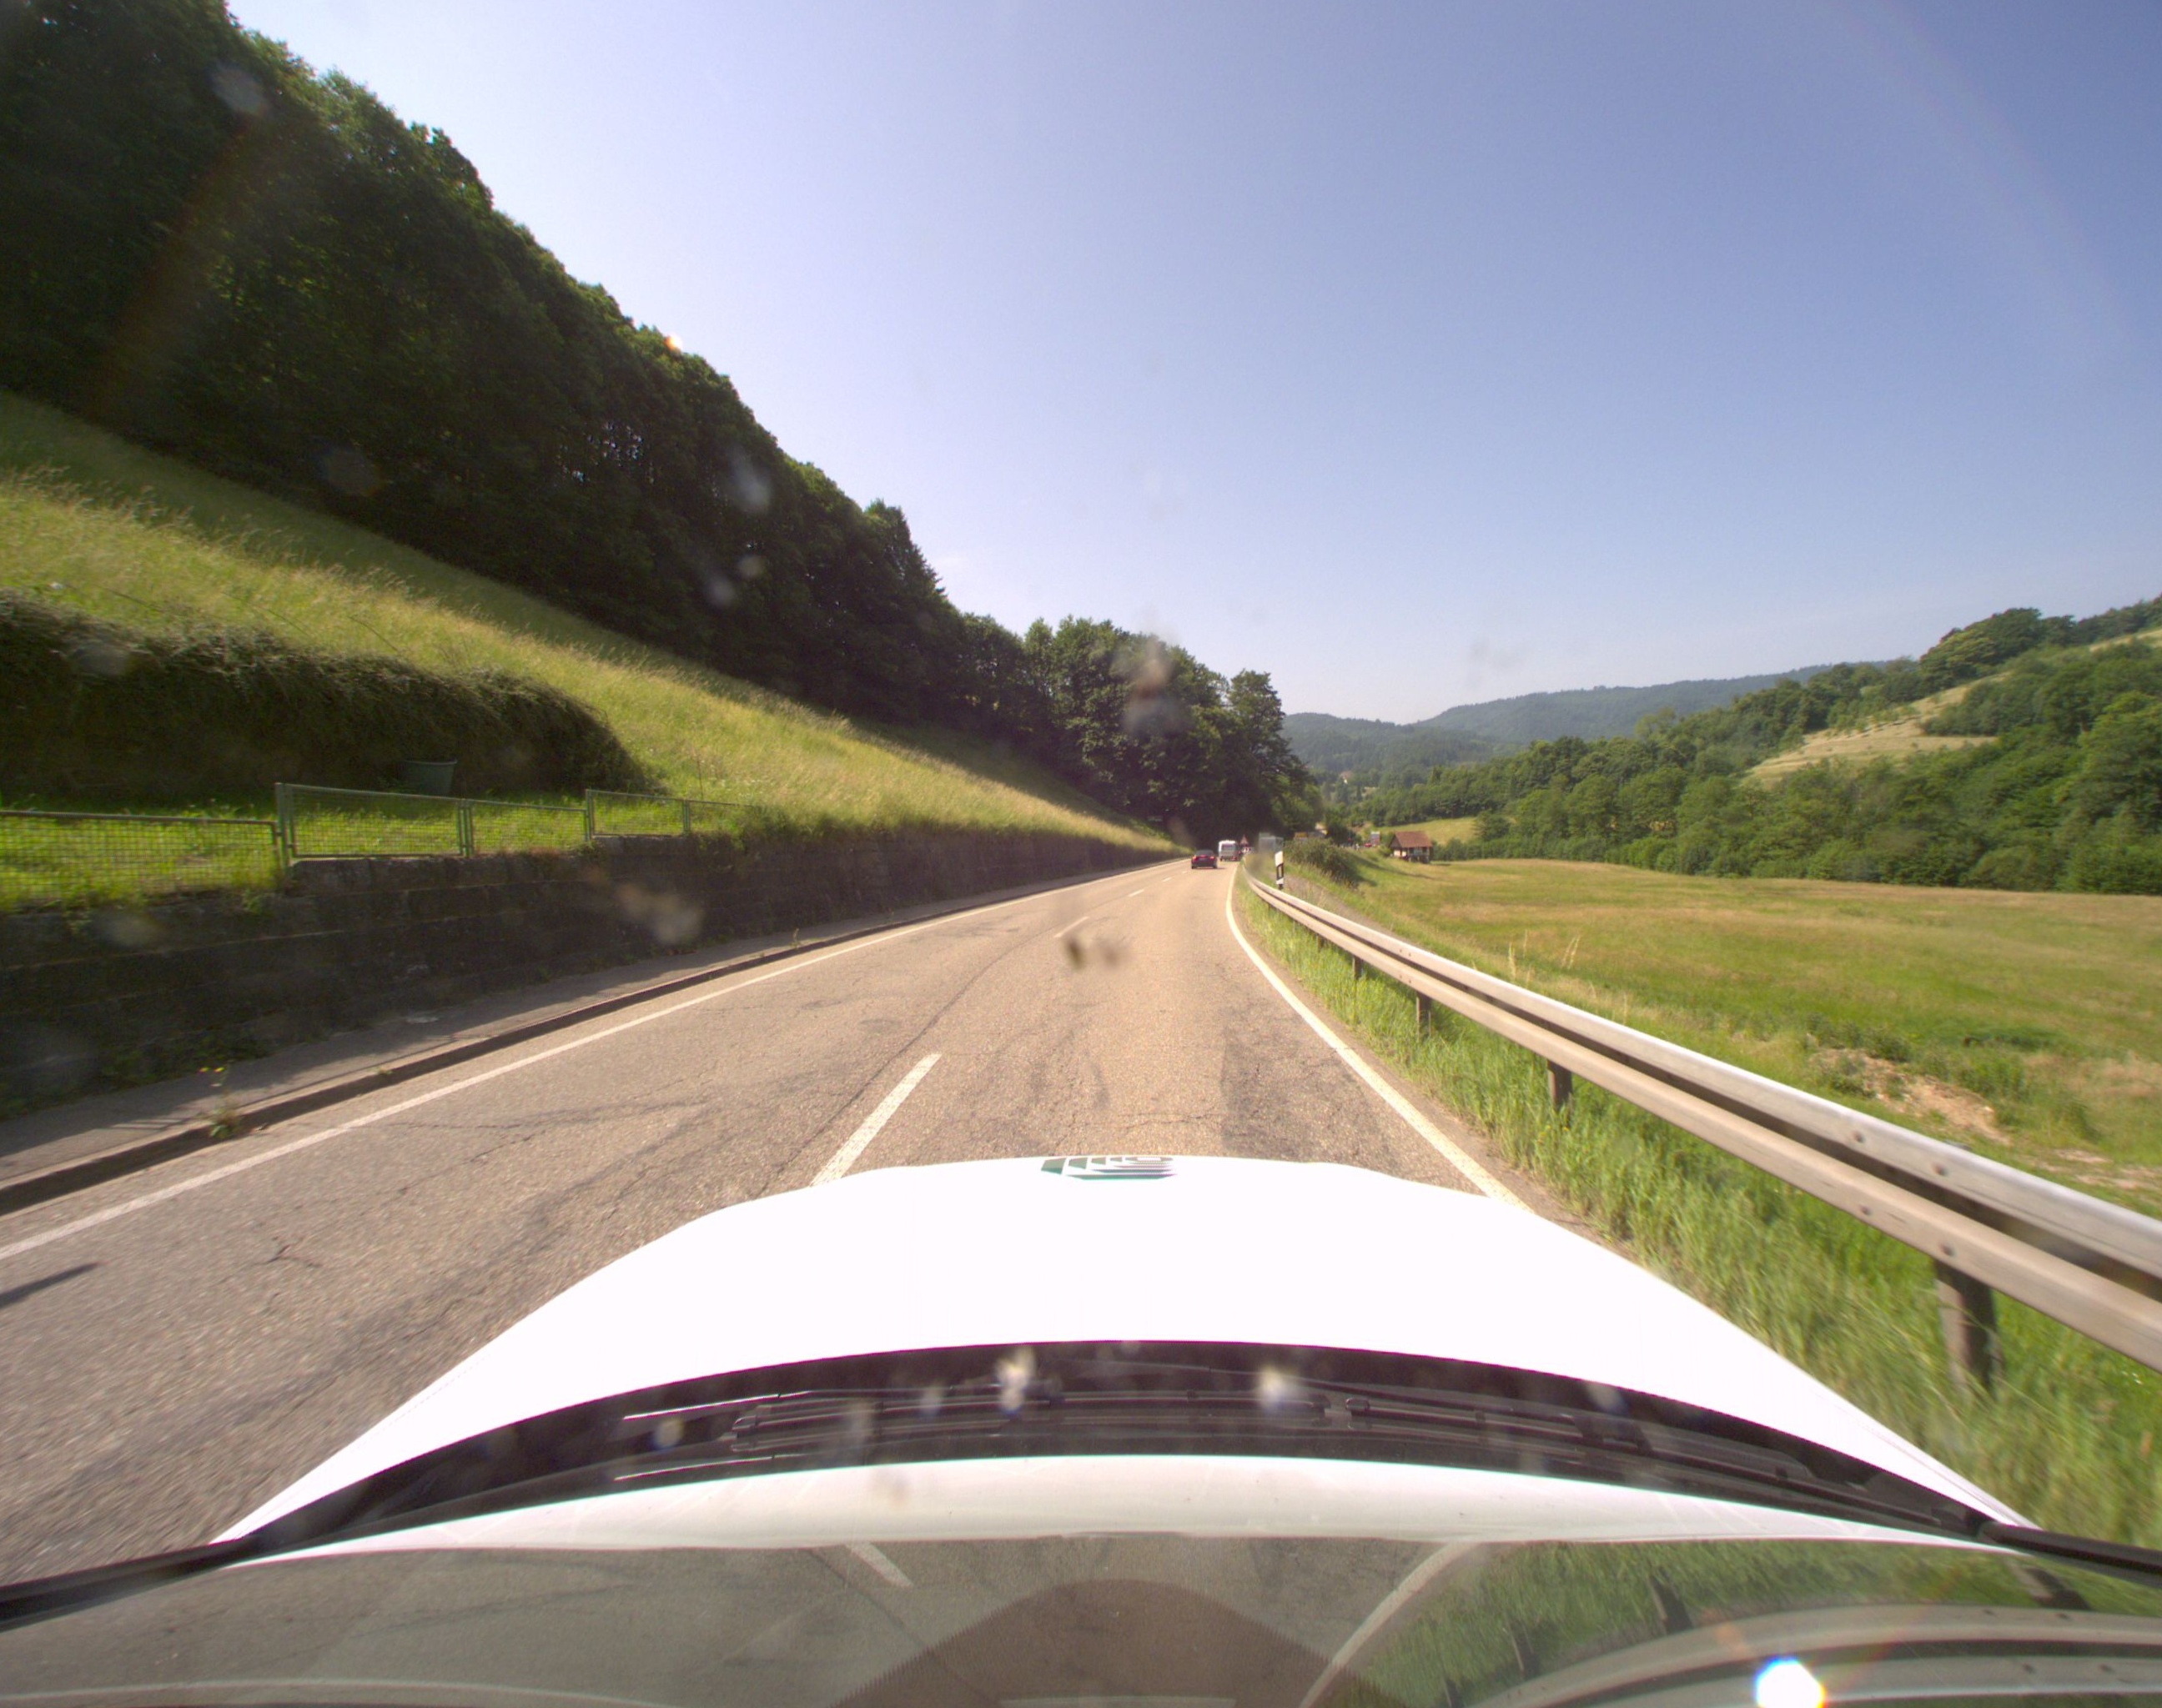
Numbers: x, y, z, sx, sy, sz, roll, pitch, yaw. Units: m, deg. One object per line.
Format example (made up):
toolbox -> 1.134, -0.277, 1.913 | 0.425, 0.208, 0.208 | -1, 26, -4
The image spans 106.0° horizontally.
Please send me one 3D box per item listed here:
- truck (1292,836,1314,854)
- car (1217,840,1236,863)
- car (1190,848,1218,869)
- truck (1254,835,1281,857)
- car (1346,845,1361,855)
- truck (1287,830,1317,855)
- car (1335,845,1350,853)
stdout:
truck -> 37.004, -1.501, 135.871 | 2.216, 2.804, 6.269 | 1, 0, 28
car -> 16.035, -0.350, 89.886 | 1.982, 2.352, 4.927 | 1, 2, 9
car -> 8.872, 0.292, 58.457 | 1.760, 1.335, 3.779 | 1, 2, 11
truck -> 26.563, -1.205, 115.712 | 2.768, 2.997, 6.903 | 3, 2, 20
car -> 54.924, -0.806, 163.910 | 1.974, 1.925, 4.025 | 2, 2, 32
truck -> 40.632, -2.101, 149.773 | 3.158, 4.396, 6.613 | 2, 2, 34
car -> 50.079, -0.981, 155.801 | 1.889, 1.485, 4.025 | 3, 2, 30
